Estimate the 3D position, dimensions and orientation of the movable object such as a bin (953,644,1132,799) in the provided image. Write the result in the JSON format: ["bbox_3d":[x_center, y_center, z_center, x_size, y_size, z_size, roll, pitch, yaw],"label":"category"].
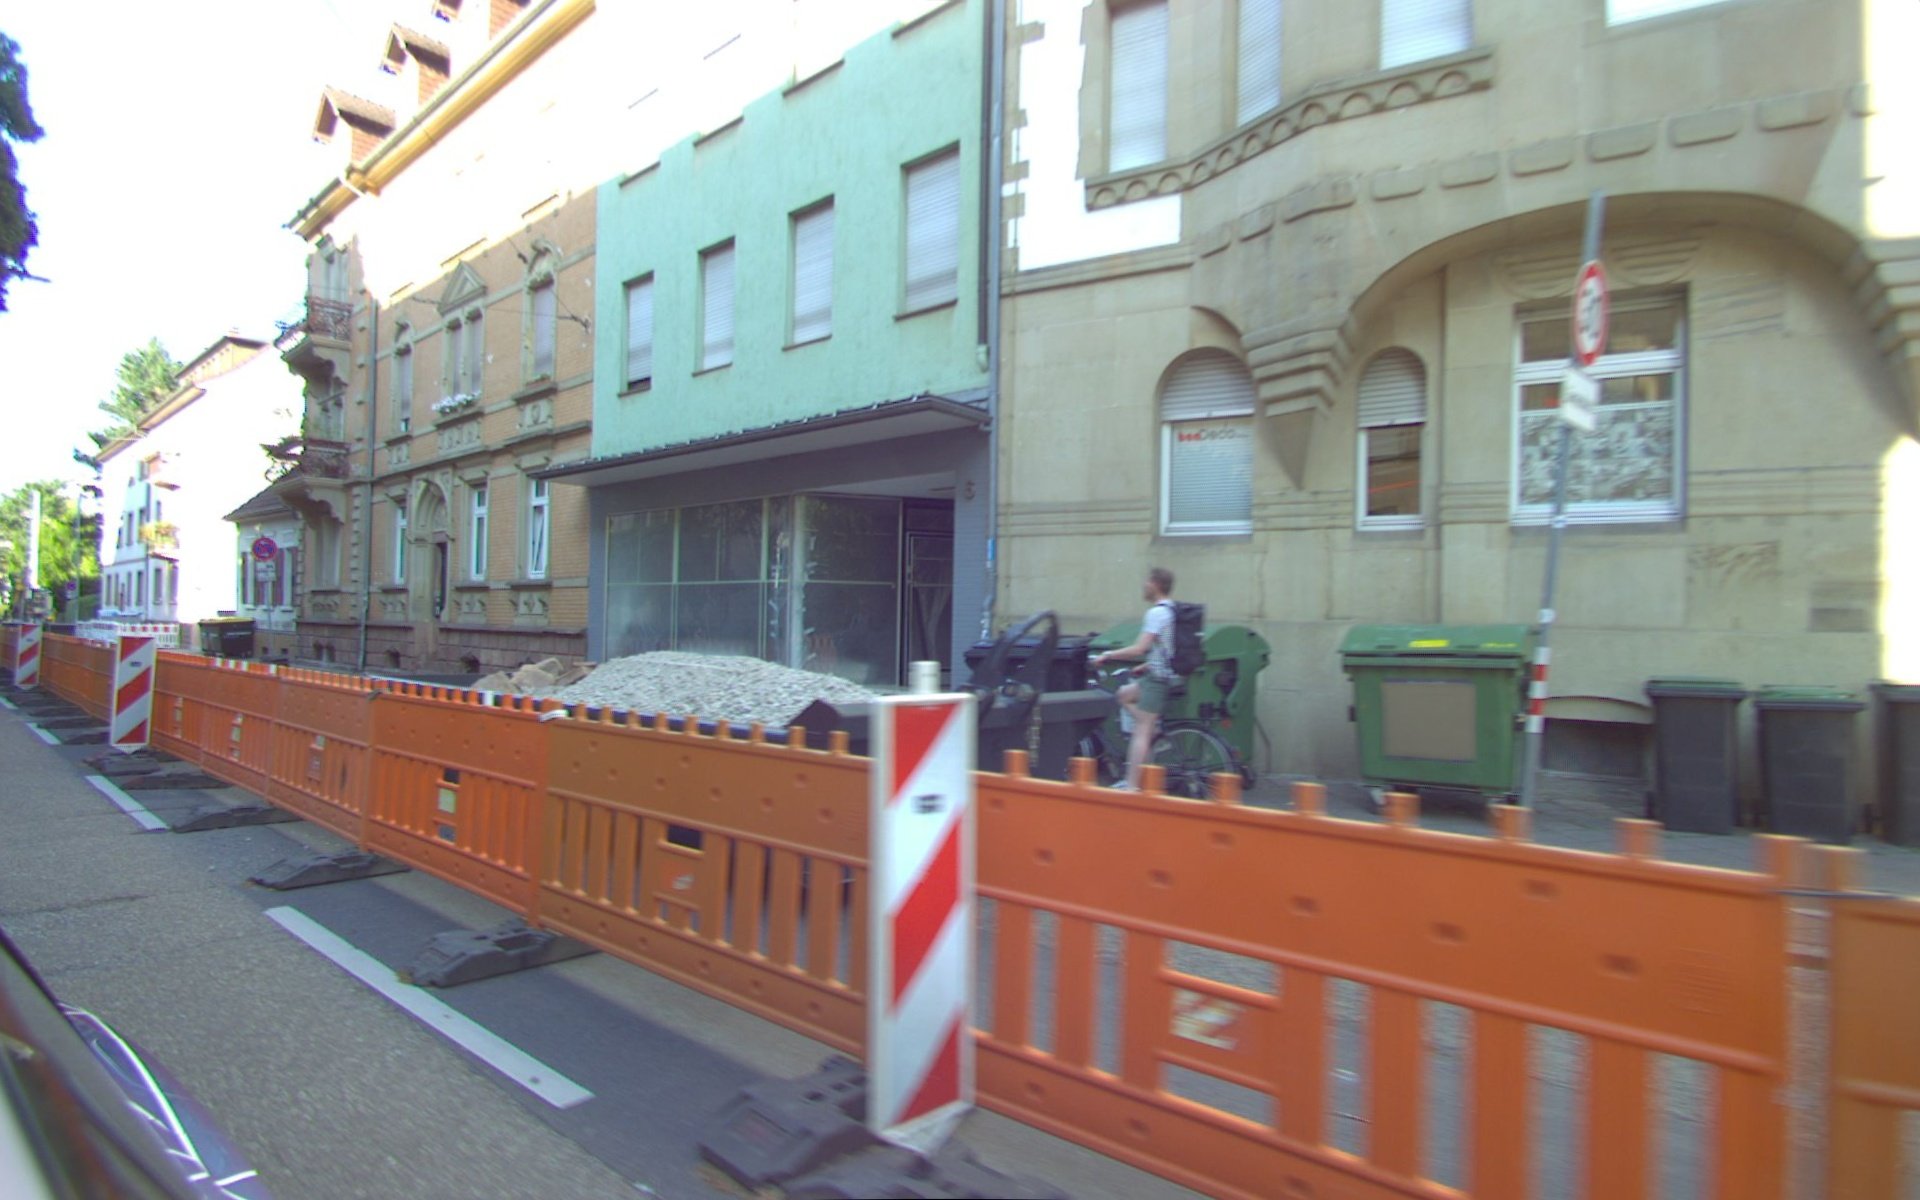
[{"bbox_3d":[0.783,1.082,9.555,1.332,1.273,1.073,-1,-1,35],"label":"movable object such as a bin"}]

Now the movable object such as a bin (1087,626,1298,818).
[{"bbox_3d":[1.970,0.957,8.661,1.069,1.442,1.409,0,-1,-41],"label":"movable object such as a bin"}]

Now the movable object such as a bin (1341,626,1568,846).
[{"bbox_3d":[3.720,0.927,7.603,1.403,1.442,1.073,-1,-1,34],"label":"movable object such as a bin"}]

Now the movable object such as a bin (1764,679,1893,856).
[{"bbox_3d":[5.679,1.064,6.651,0.554,1.031,0.631,-1,-1,33],"label":"movable object such as a bin"}]

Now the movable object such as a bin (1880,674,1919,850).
[{"bbox_3d":[6.331,1.015,6.316,0.762,1.049,0.631,-1,-1,34],"label":"movable object such as a bin"}]

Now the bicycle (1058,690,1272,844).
[{"bbox_3d":[1.514,1.199,7.600,1.472,0.939,0.594,-1,-1,39],"label":"bicycle"}]

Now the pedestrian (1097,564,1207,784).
[{"bbox_3d":[1.455,0.532,7.657,0.615,1.568,0.592,-1,-1,38],"label":"pedestrian"}]

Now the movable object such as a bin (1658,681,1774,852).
[{"bbox_3d":[5.185,1.112,6.976,0.586,1.049,0.631,-1,-1,33],"label":"movable object such as a bin"}]
